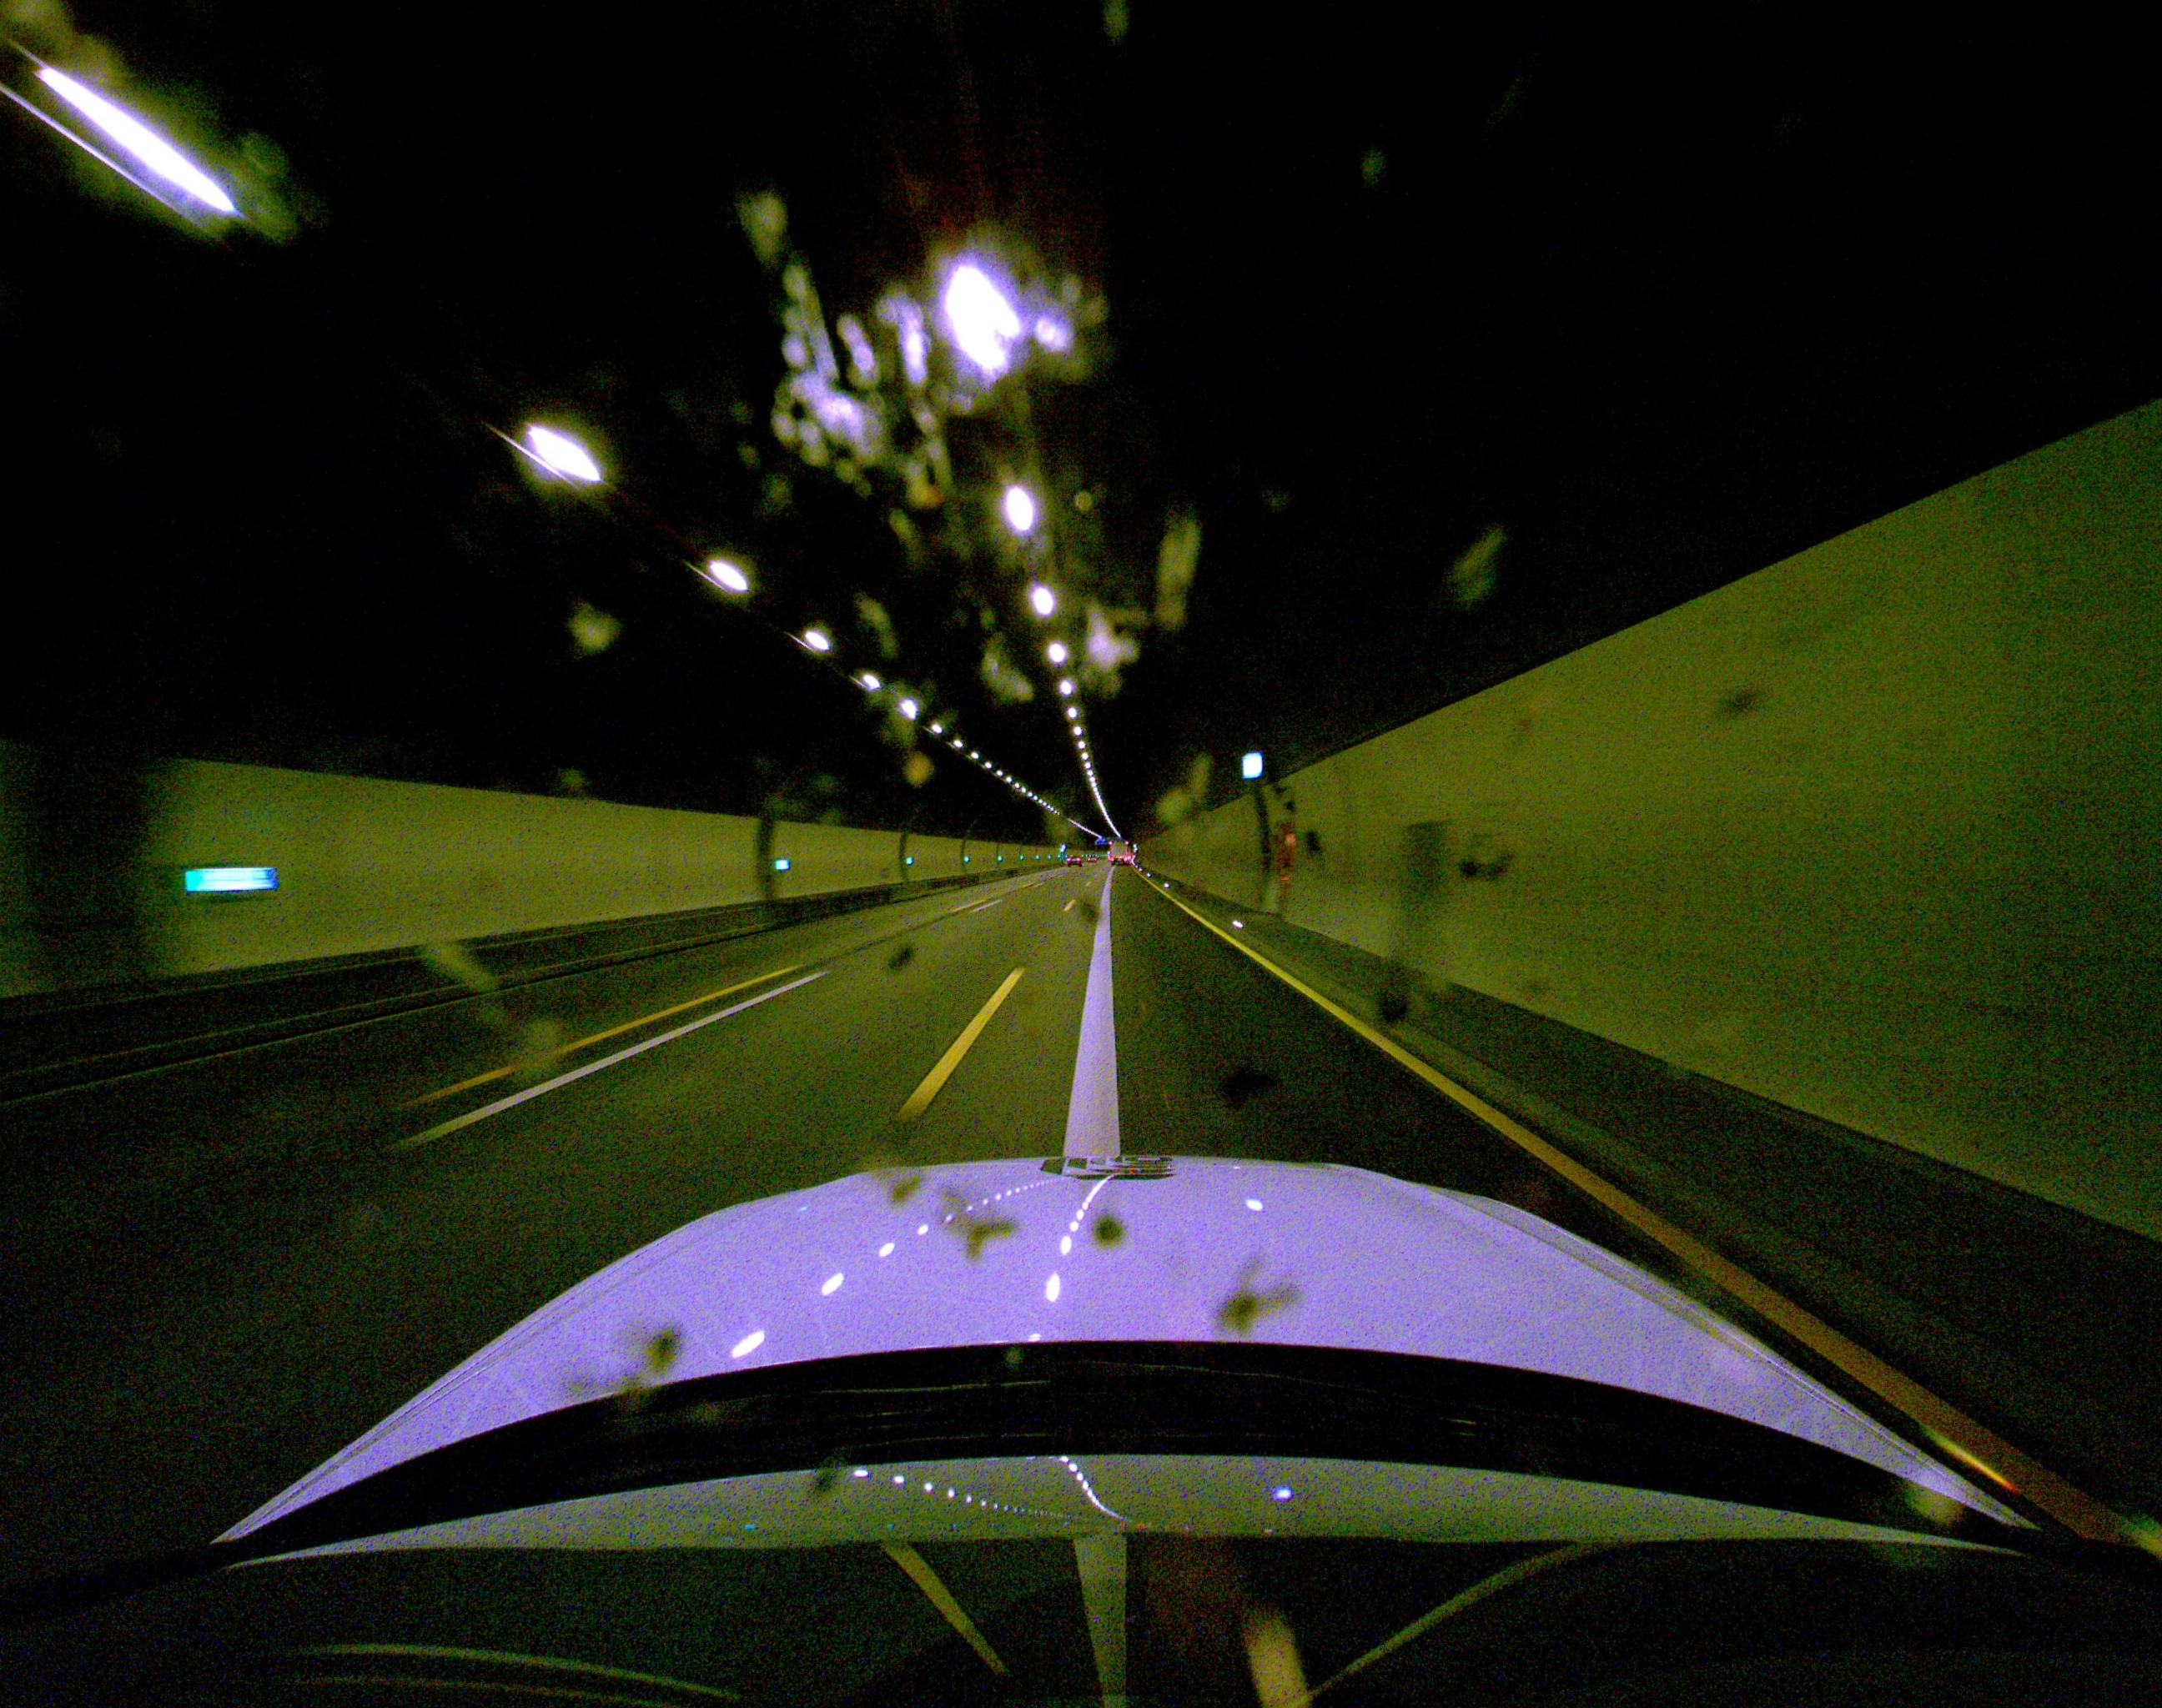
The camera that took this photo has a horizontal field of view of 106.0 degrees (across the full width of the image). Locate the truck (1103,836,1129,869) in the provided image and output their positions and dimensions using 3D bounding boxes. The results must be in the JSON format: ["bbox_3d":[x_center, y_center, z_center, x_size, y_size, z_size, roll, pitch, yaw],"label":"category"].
[{"bbox_3d":[5.412,-0.174,128.605,3.268,4.650,17.284,-3,0,0],"label":"truck"}]

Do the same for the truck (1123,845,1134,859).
[{"bbox_3d":[14.586,-0.673,248.750,2.911,4.047,14.036,-3,0,2],"label":"truck"}]

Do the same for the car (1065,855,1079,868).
[{"bbox_3d":[-1.188,0.982,111.722,1.806,1.618,4.001,-1,0,1],"label":"car"}]

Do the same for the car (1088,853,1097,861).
[{"bbox_3d":[2.284,0.660,166.772,1.807,1.520,4.000,-1,1,0],"label":"car"}]
